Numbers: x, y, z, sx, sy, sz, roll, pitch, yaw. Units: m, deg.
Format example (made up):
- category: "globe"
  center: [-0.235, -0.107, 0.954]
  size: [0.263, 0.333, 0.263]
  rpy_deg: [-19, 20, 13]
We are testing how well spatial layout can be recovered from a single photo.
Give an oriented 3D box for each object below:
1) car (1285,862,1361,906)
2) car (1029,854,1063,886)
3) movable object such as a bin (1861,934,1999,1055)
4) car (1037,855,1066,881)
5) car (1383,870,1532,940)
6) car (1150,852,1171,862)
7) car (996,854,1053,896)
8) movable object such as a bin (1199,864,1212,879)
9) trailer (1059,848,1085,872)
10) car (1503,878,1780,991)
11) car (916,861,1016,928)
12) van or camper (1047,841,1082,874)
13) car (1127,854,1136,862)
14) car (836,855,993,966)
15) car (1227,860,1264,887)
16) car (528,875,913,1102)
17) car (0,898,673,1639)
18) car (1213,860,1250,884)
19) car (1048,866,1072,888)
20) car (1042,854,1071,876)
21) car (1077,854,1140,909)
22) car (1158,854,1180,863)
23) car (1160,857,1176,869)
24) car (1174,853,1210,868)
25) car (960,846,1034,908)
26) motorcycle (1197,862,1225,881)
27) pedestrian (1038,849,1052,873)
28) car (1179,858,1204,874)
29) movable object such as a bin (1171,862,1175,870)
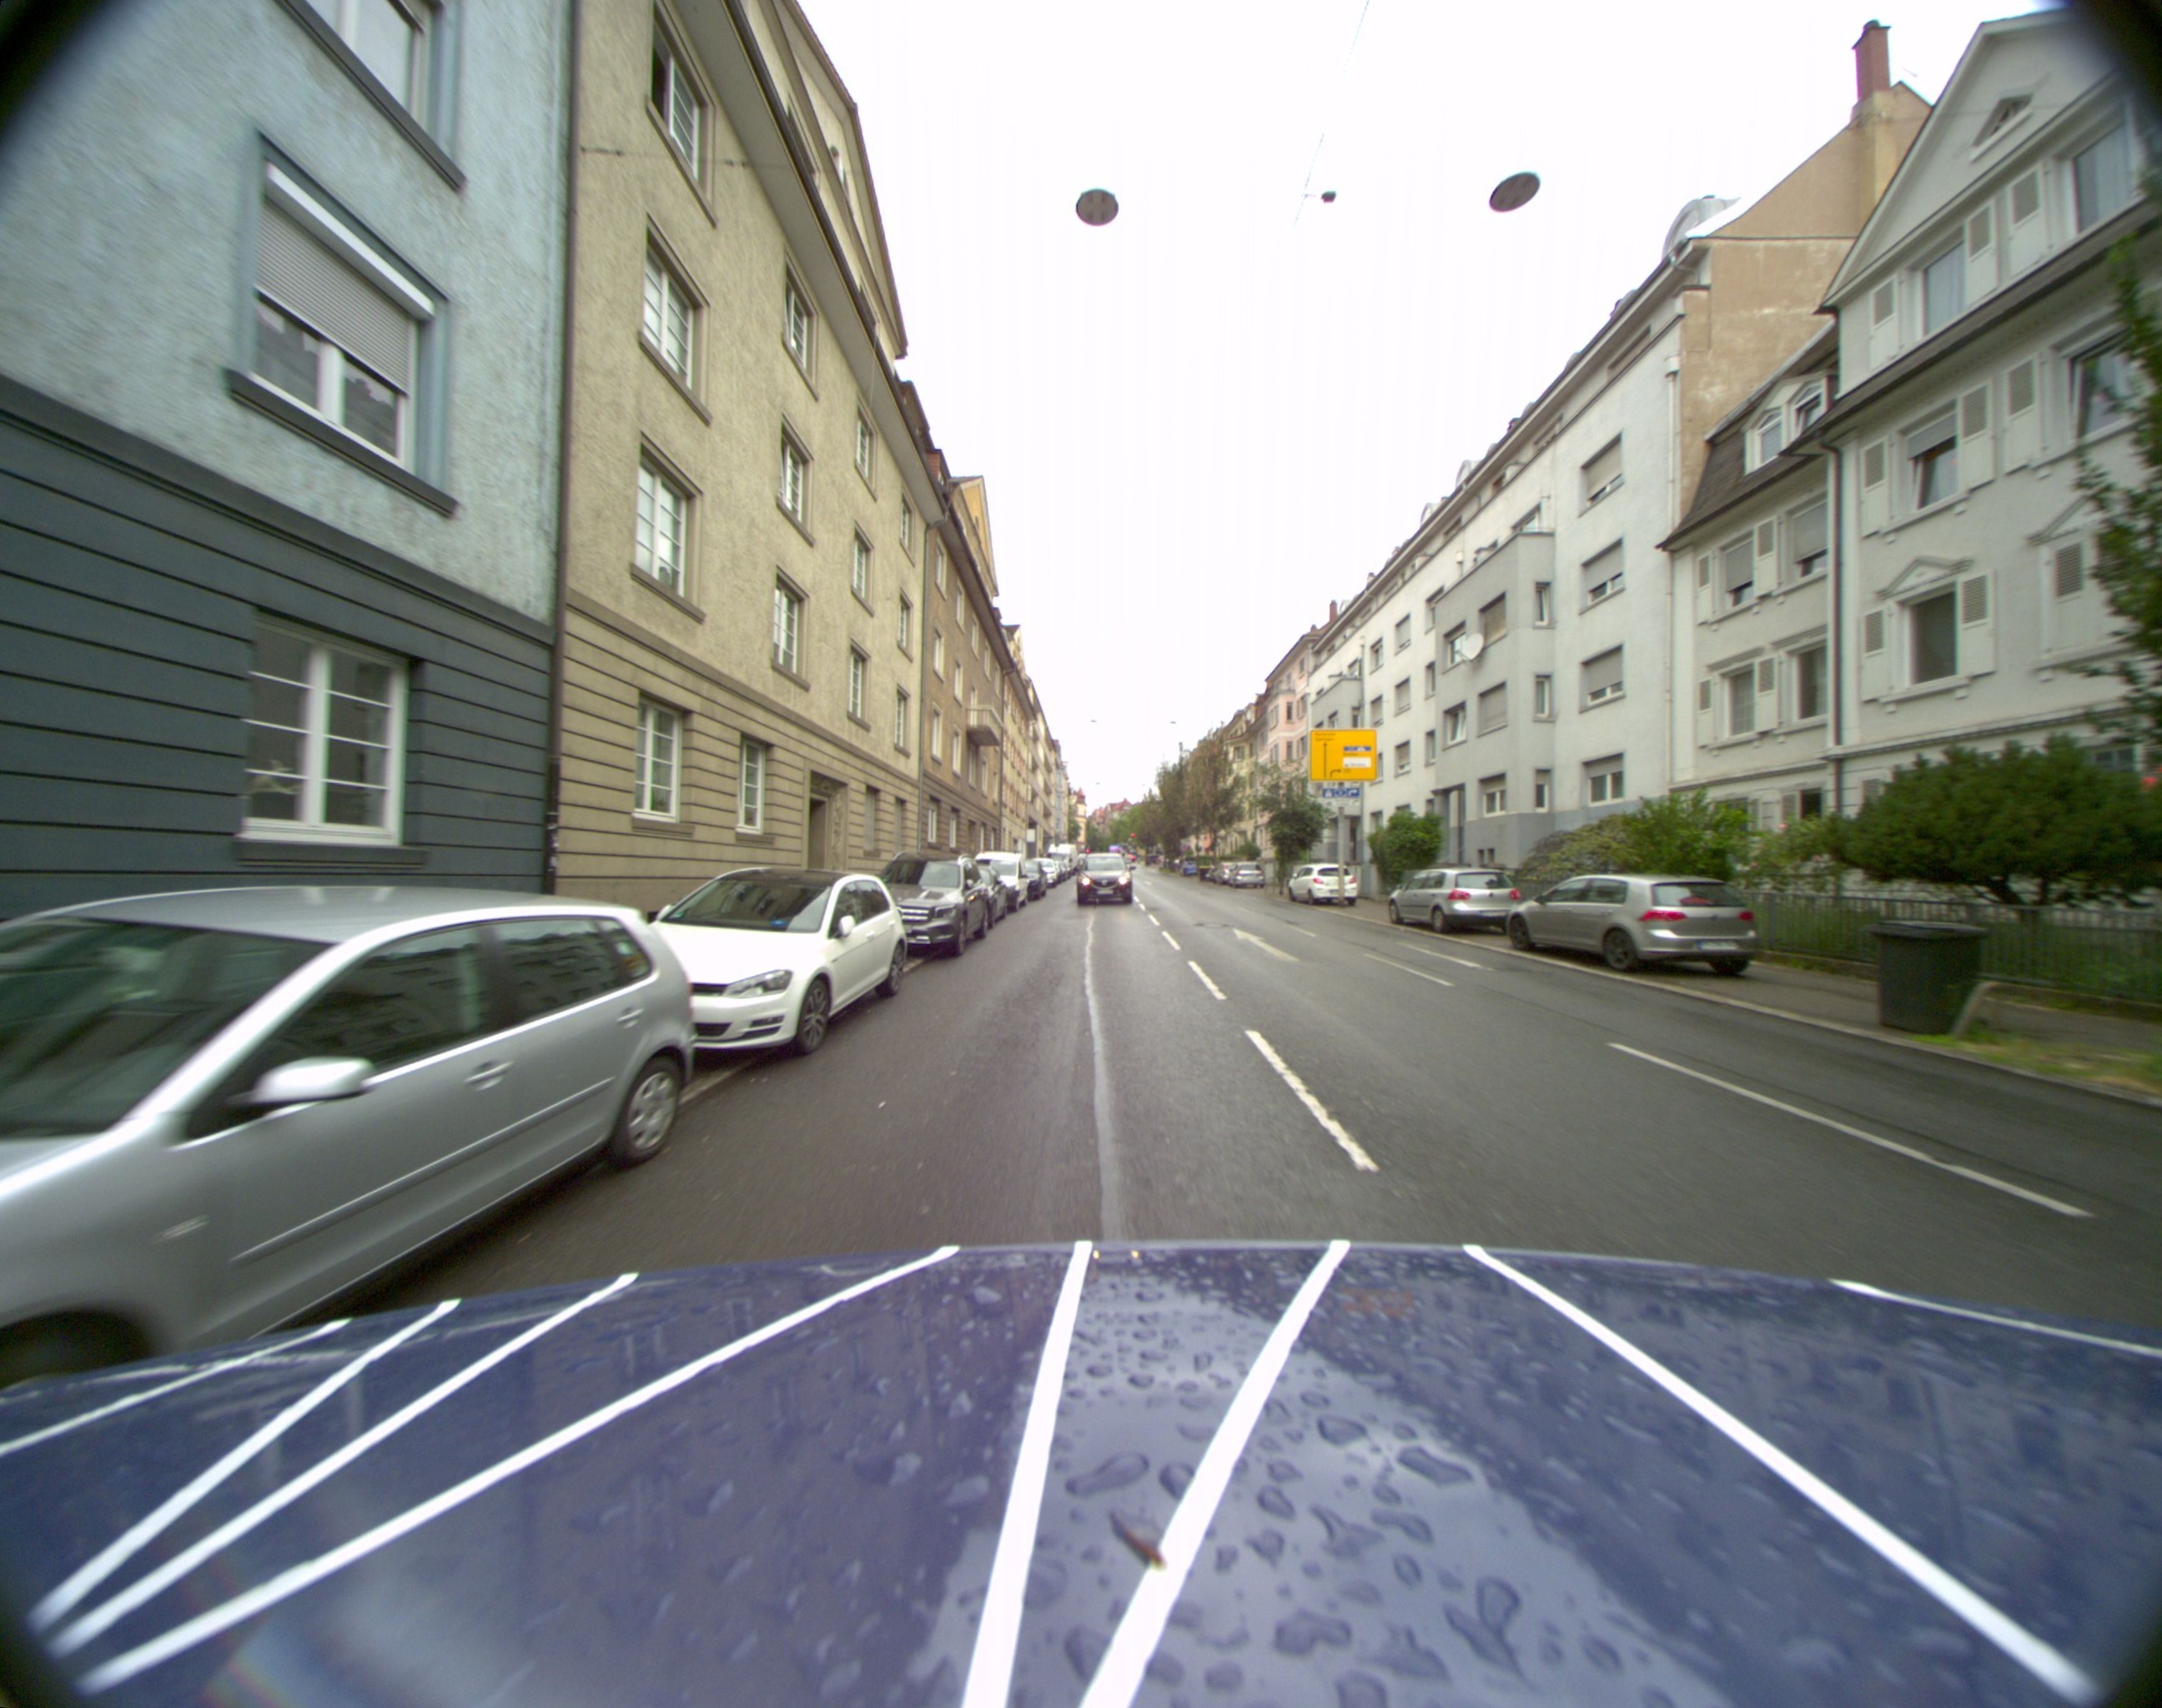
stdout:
- category: "car"
  center: [9.024, 1.076, 28.574]
  size: [1.650, 1.499, 3.796]
  rpy_deg: [0, 0, 0]
- category: "car"
  center: [-1.921, 0.853, 42.779]
  size: [1.636, 1.629, 4.194]
  rpy_deg: [3, 0, 0]
- category: "movable object such as a bin"
  center: [8.229, 1.345, 7.388]
  size: [0.631, 1.052, 0.600]
  rpy_deg: [1, 1, 2]
- category: "car"
  center: [-1.837, 0.874, 48.526]
  size: [1.636, 1.470, 3.734]
  rpy_deg: [4, 0, 0]
- category: "car"
  center: [8.757, 1.122, 18.059]
  size: [1.686, 1.382, 3.910]
  rpy_deg: [-1, 0, 2]
- category: "car"
  center: [15.587, 0.634, 148.610]
  size: [3.929, 1.836, 1.867]
  rpy_deg: [1, 1, -1]
- category: "car"
  center: [-2.214, 0.796, 30.828]
  size: [1.795, 1.539, 4.226]
  rpy_deg: [2, 0, 2]
- category: "movable object such as a bin"
  center: [9.295, 1.295, 56.768]
  size: [0.826, 1.052, 0.483]
  rpy_deg: [-2, 1, 3]
- category: "trailer"
  center: [-0.815, 0.592, 73.269]
  size: [1.998, 2.139, 5.074]
  rpy_deg: [2, -1, 4]
- category: "car"
  center: [8.703, 1.156, 12.290]
  size: [1.686, 1.382, 3.936]
  rpy_deg: [-1, 0, 2]
- category: "car"
  center: [-2.814, 0.944, 19.583]
  size: [1.845, 1.401, 4.387]
  rpy_deg: [2, 0, 0]
- category: "van or camper"
  center: [-1.366, 0.318, 66.079]
  size: [2.189, 2.683, 6.422]
  rpy_deg: [1, 0, 6]
- category: "car"
  center: [10.600, 0.752, 158.858]
  size: [1.771, 1.540, 3.652]
  rpy_deg: [-1, 1, 1]
- category: "car"
  center: [-2.781, 0.861, 13.685]
  size: [1.845, 1.611, 4.208]
  rpy_deg: [2, 1, 0]
- category: "car"
  center: [9.558, 1.090, 44.347]
  size: [1.604, 1.442, 3.889]
  rpy_deg: [-1, 0, 5]
- category: "car"
  center: [-3.017, 1.013, 7.404]
  size: [1.733, 1.421, 3.974]
  rpy_deg: [3, 0, 1]
- category: "car"
  center: [-3.142, 0.995, 2.462]
  size: [1.587, 1.421, 3.595]
  rpy_deg: [3, 0, 1]
- category: "car"
  center: [9.697, 1.162, 49.206]
  size: [1.604, 1.388, 3.887]
  rpy_deg: [0, 1, 1]
- category: "car"
  center: [-1.593, 1.683, 57.687]
  size: [1.782, 1.471, 4.188]
  rpy_deg: [1, 1, -2]
- category: "car"
  center: [-1.668, 0.744, 52.863]
  size: [1.782, 1.470, 4.588]
  rpy_deg: [0, 0, 1]
- category: "car"
  center: [0.836, 0.839, 25.418]
  size: [1.889, 1.543, 3.999]
  rpy_deg: [-3, 1, 0]
- category: "car"
  center: [16.931, 0.802, 146.233]
  size: [3.928, 1.613, 1.592]
  rpy_deg: [1, 1, 2]
- category: "car"
  center: [11.345, 1.187, 98.873]
  size: [1.685, 1.409, 4.138]
  rpy_deg: [1, 0, 2]
- category: "car"
  center: [15.266, 0.879, 104.557]
  size: [4.731, 1.894, 1.918]
  rpy_deg: [-1, 1, 0]
- category: "car"
  center: [-2.631, 0.696, 24.697]
  size: [1.795, 1.807, 4.080]
  rpy_deg: [2, 0, 1]
- category: "motorcycle"
  center: [9.238, 1.201, 53.894]
  size: [1.806, 1.307, 0.743]
  rpy_deg: [1, 0, 43]
- category: "pedestrian"
  center: [-2.650, 0.515, 55.732]
  size: [0.688, 1.777, 0.711]
  rpy_deg: [1, 2, -37]
- category: "car"
  center: [10.179, 1.103, 70.239]
  size: [1.683, 1.377, 4.603]
  rpy_deg: [0, 0, 1]
- category: "movable object such as a bin"
  center: [10.091, 1.322, 82.968]
  size: [0.365, 0.884, 0.572]
  rpy_deg: [-1, 0, 1]
